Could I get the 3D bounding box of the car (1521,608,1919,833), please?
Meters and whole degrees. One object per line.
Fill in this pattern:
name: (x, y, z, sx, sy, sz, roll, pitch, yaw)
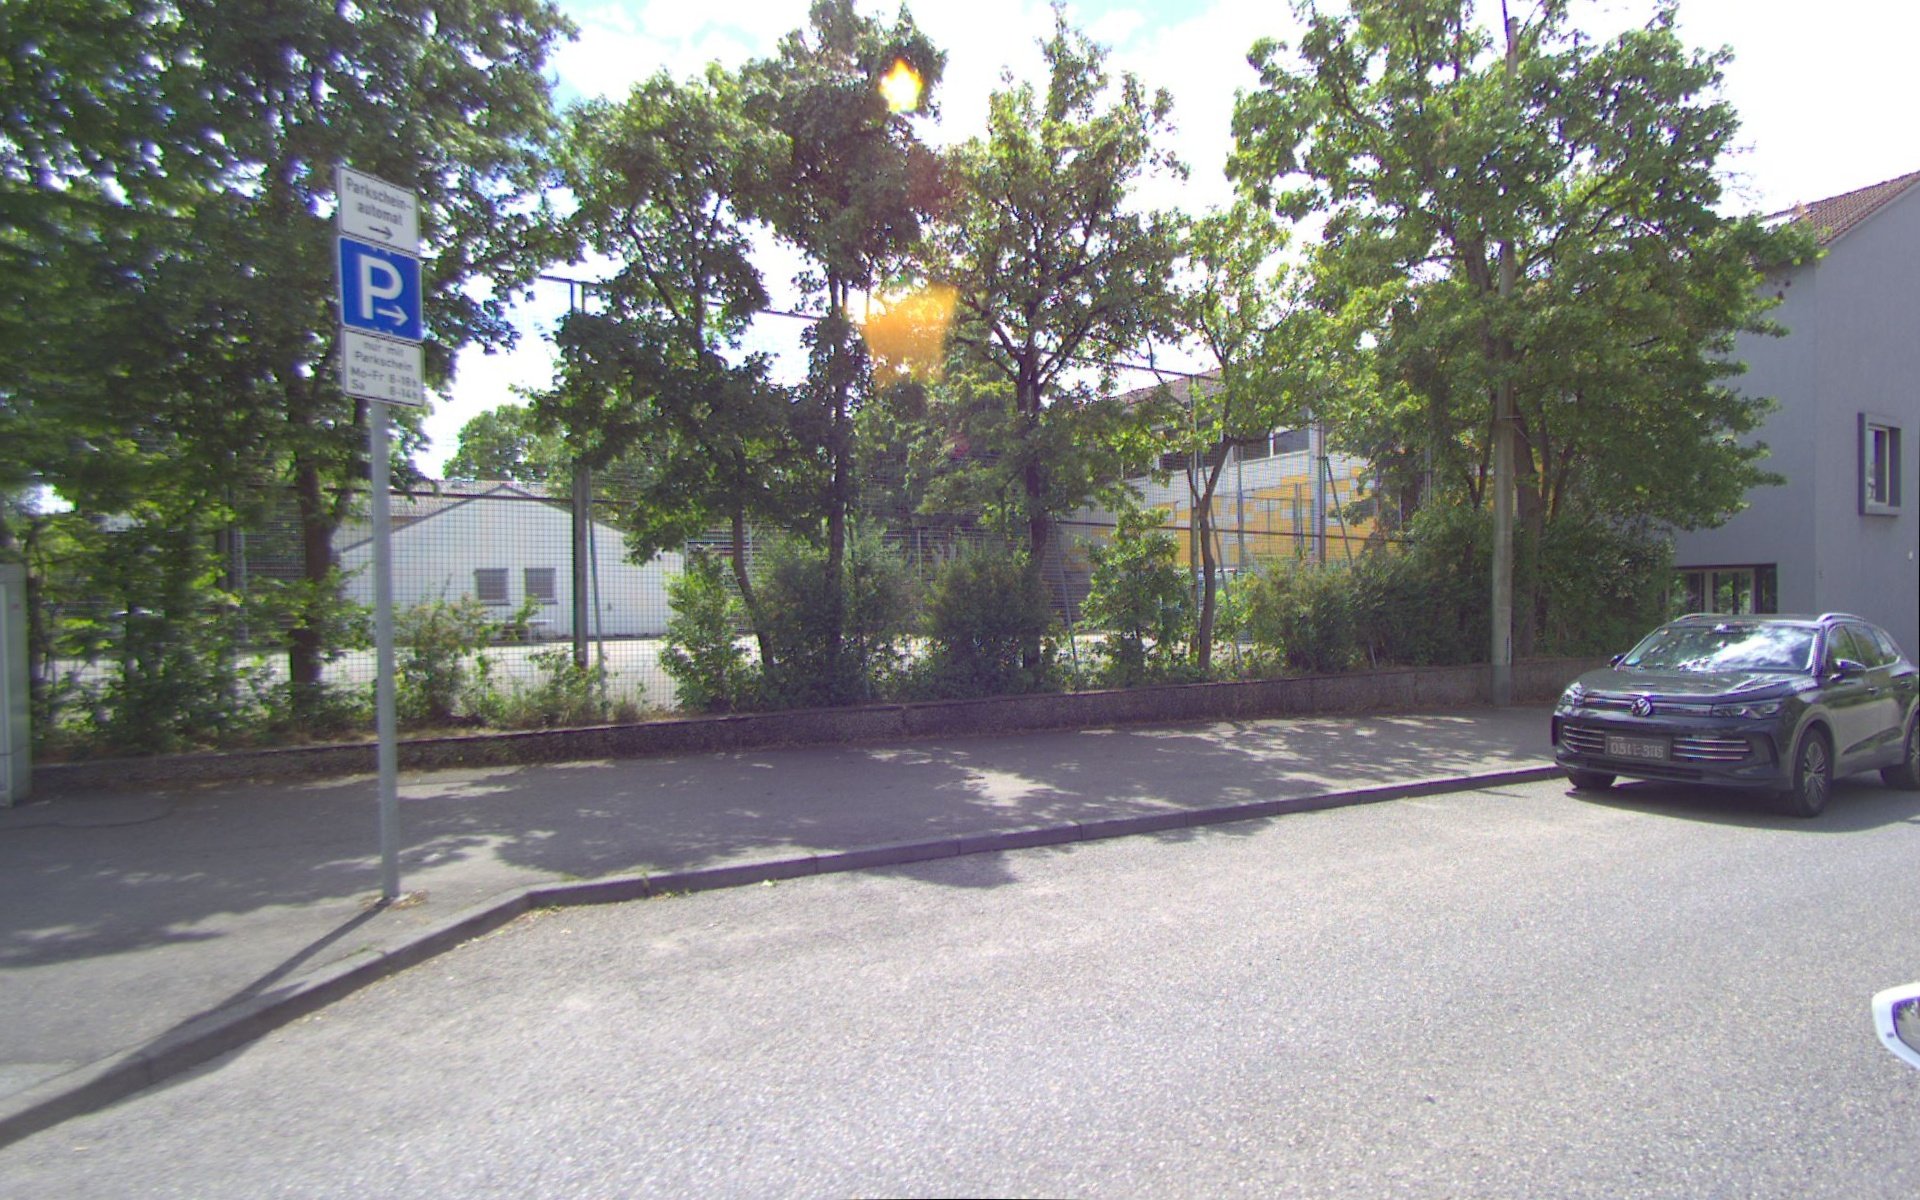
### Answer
car: (7.332, 0.901, 9.379, 4.597, 1.632, 1.784, 0, 0, -34)
